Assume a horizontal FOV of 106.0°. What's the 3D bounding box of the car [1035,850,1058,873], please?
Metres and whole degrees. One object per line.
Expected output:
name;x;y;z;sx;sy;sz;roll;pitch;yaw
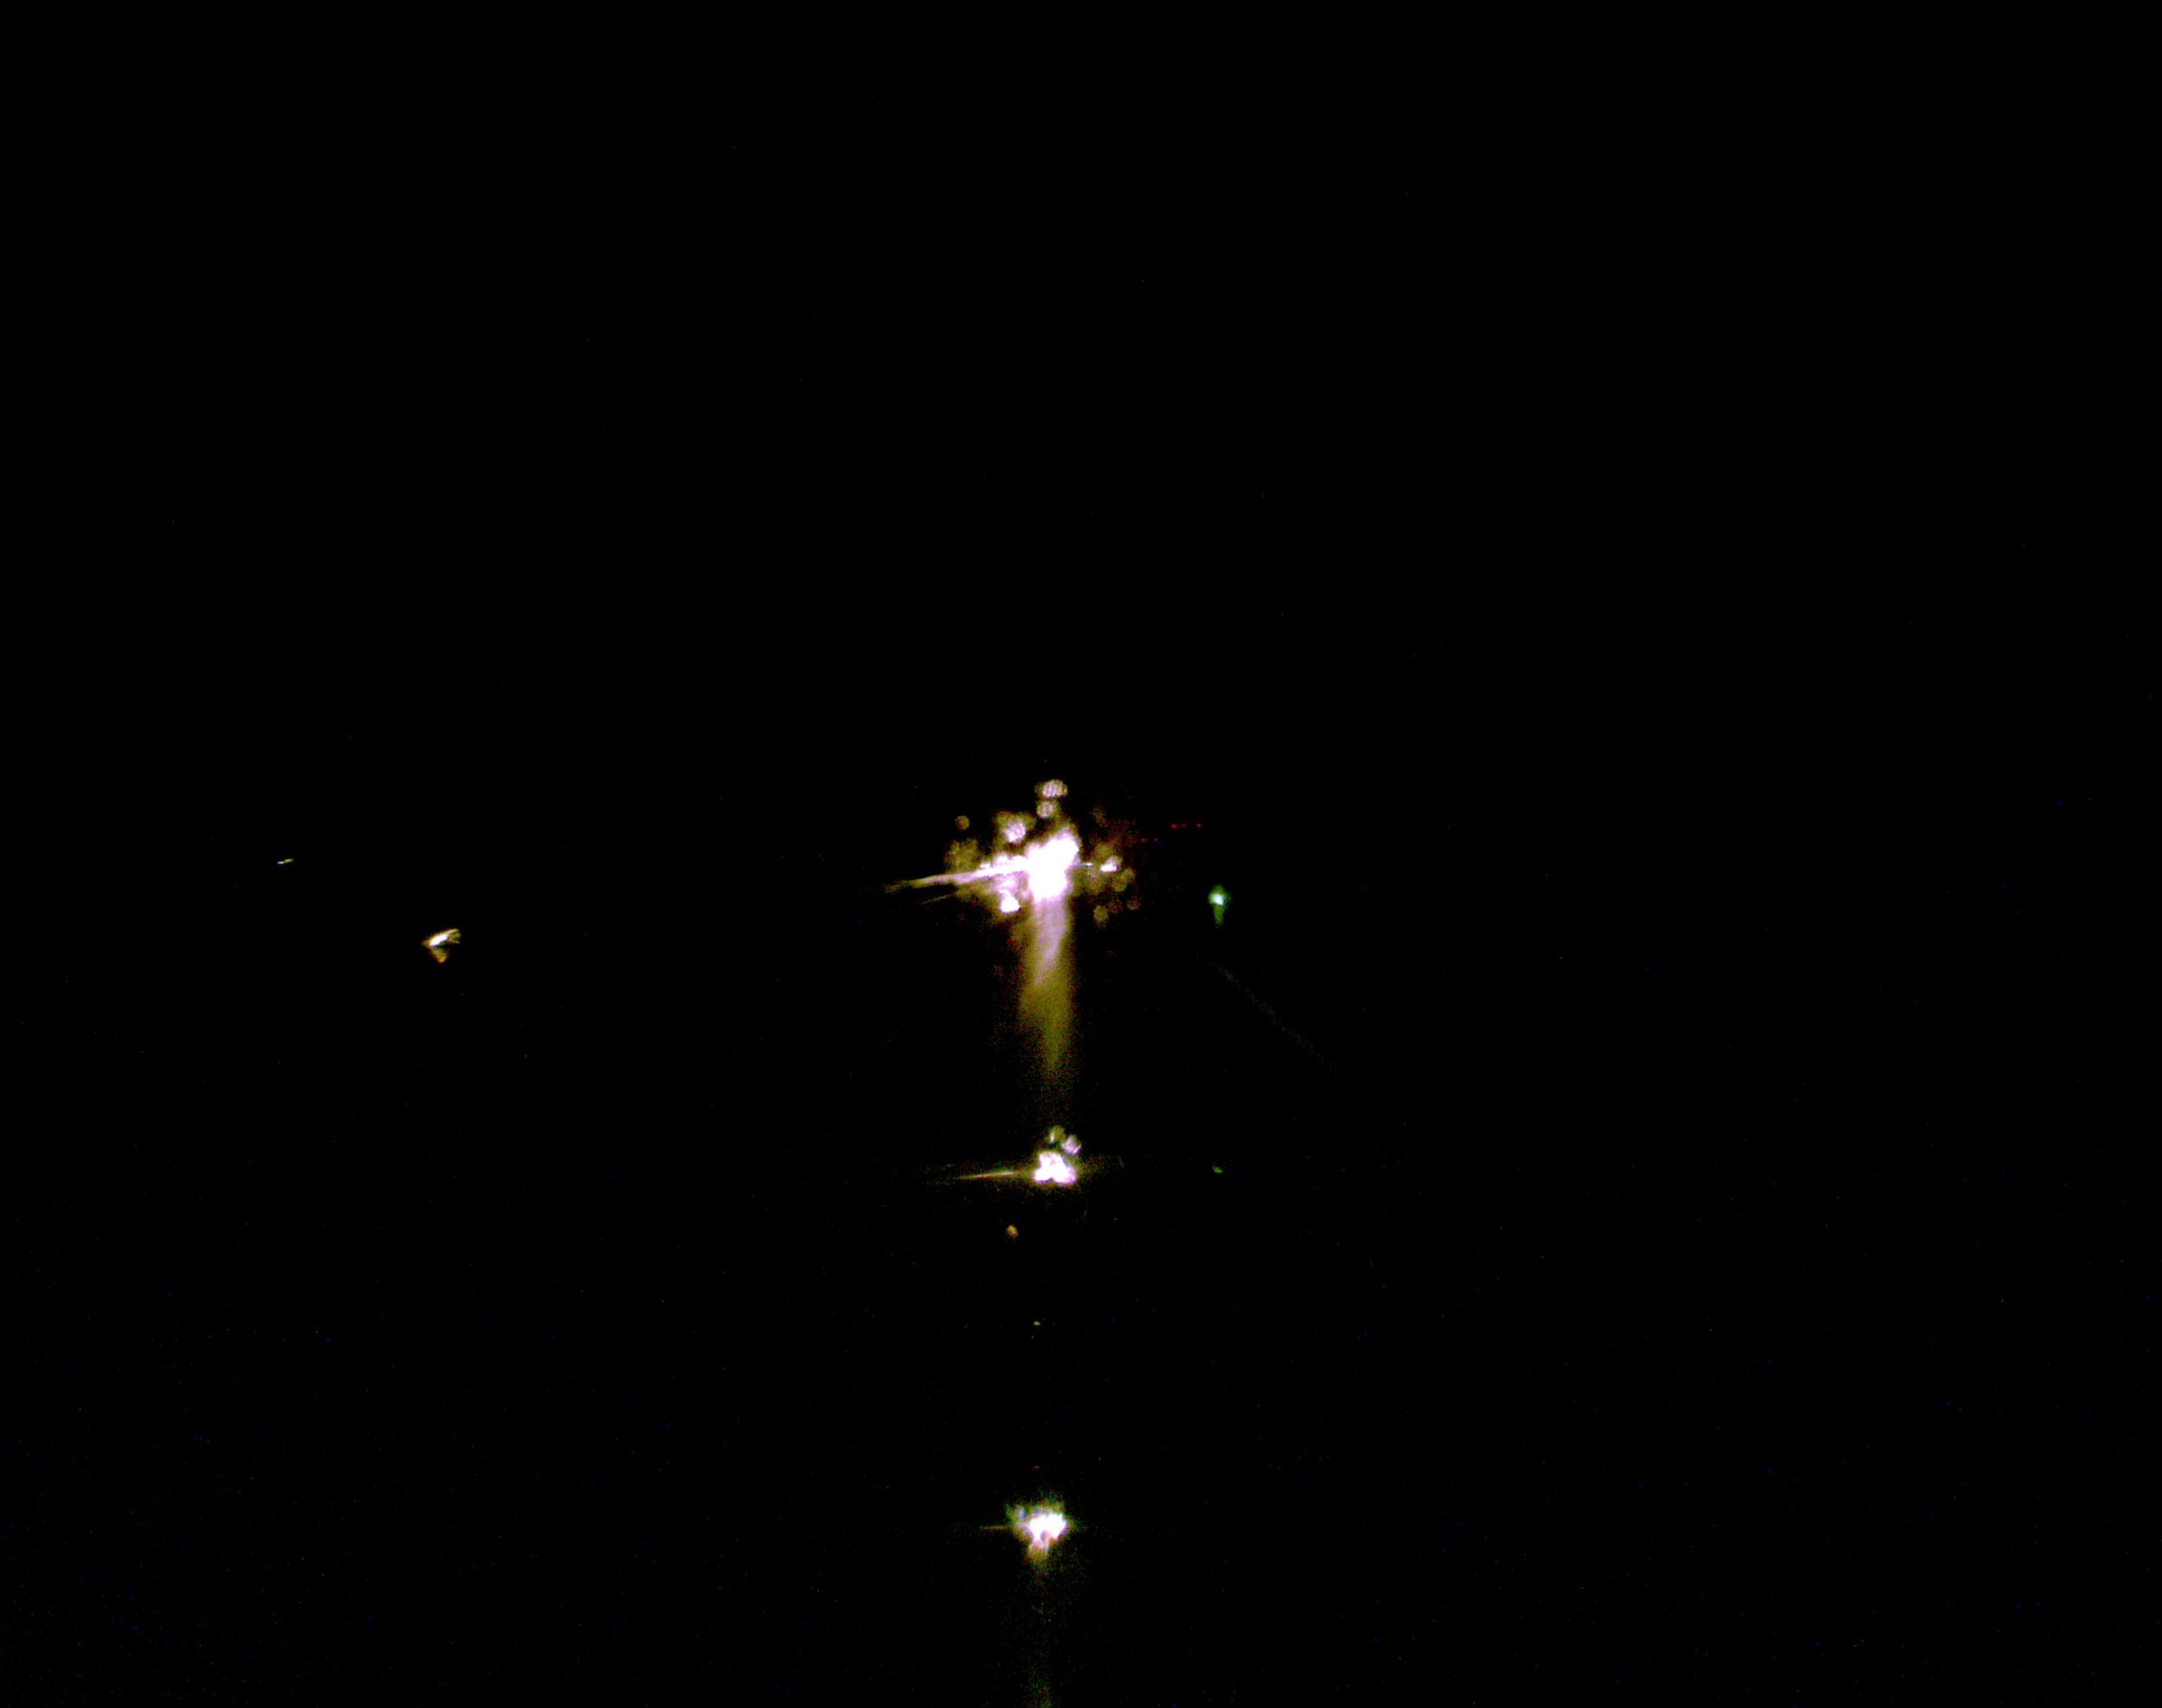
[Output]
car;-3.438;0.716;81.895;1.987;2.272;5.466;-1;0;0
